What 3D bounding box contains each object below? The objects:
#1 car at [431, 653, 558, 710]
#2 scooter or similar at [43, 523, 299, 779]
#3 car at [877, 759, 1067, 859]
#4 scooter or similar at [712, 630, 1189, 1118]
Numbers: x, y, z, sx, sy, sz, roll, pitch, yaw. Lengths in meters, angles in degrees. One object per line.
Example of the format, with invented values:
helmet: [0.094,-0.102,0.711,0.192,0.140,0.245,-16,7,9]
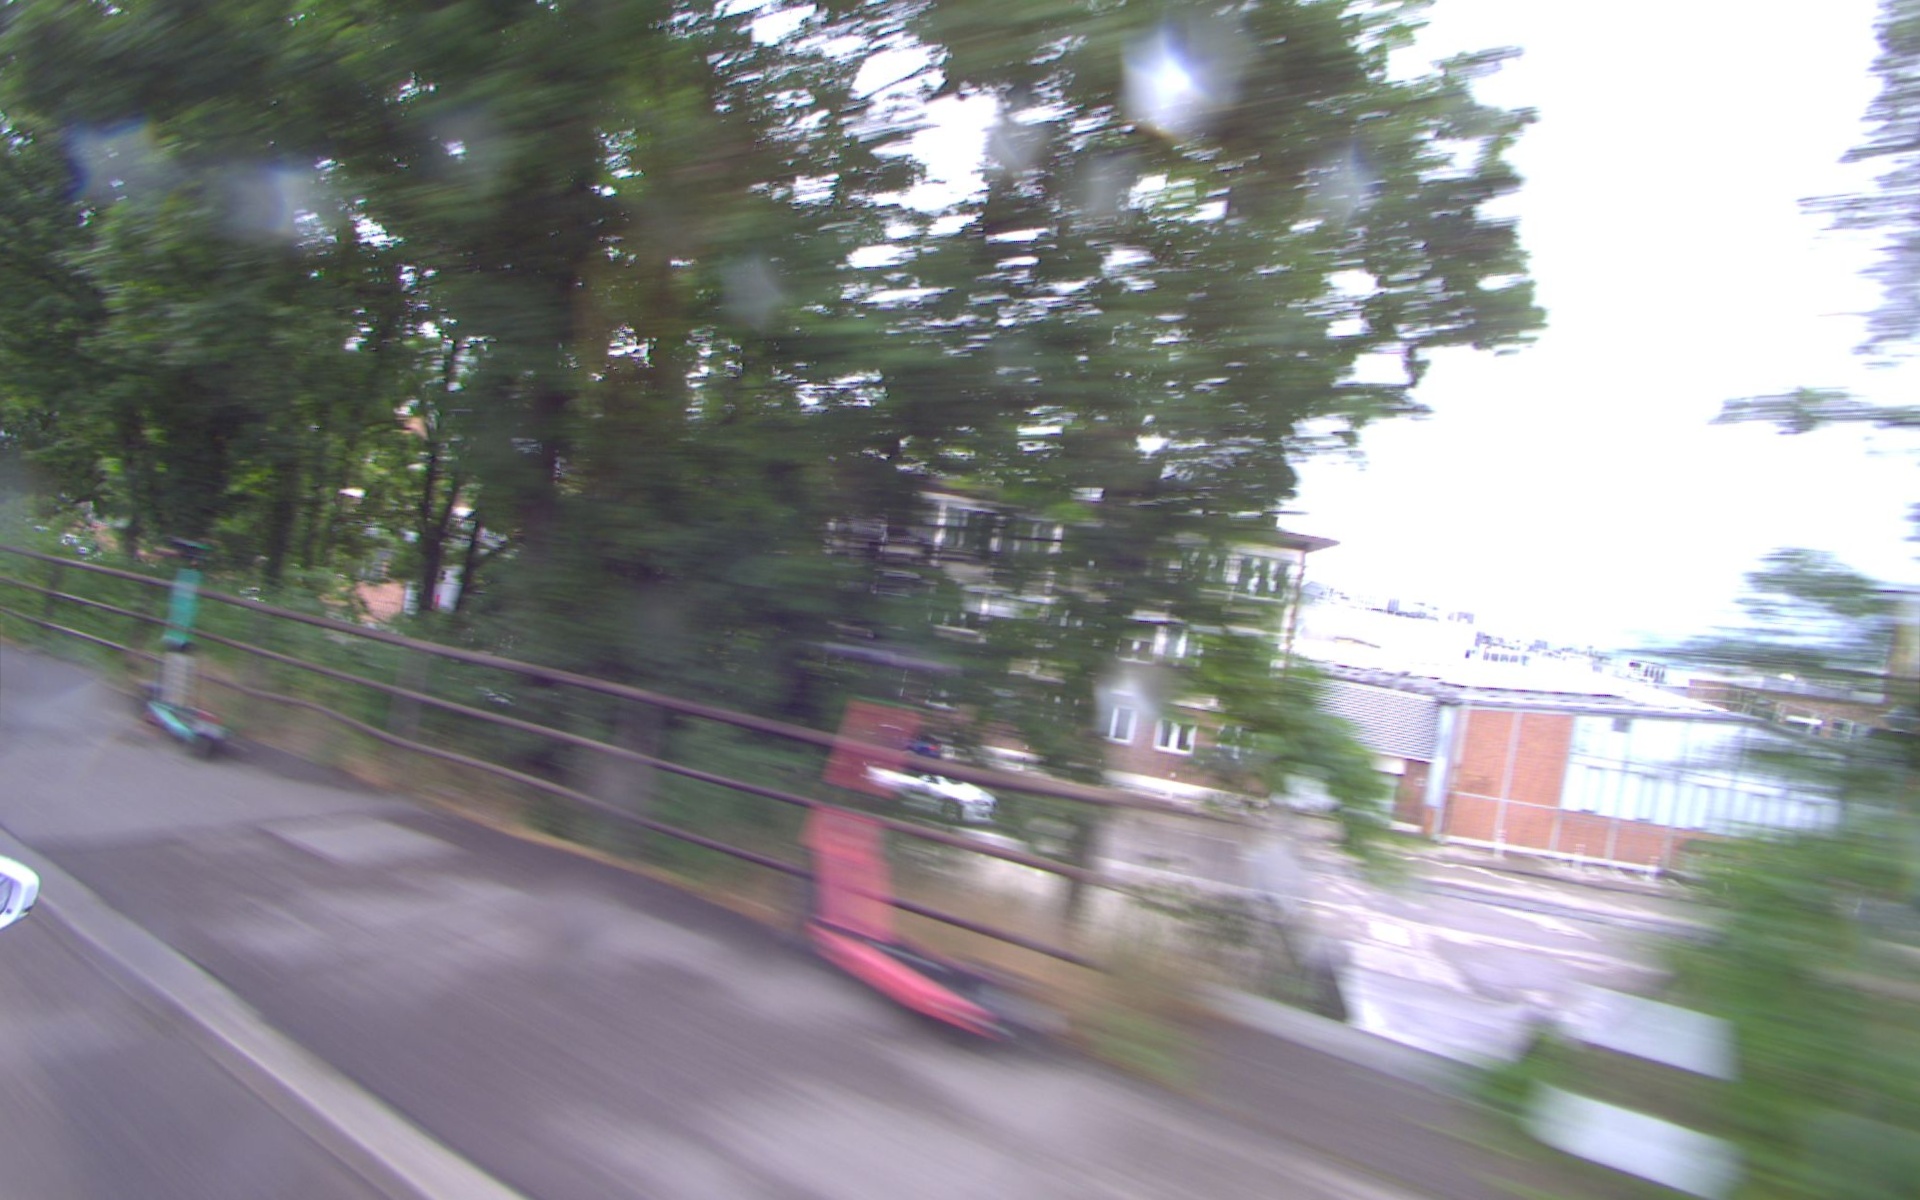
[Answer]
car: [-14.826,2.651,32.220,1.487,1.412,3.416,11,-2,22]
scooter or similar: [-4.837,0.265,6.124,1.814,1.247,0.538,8,0,33]
car: [0.329,5.203,25.385,4.367,1.439,1.750,9,-2,14]
scooter or similar: [-0.069,0.832,3.533,1.444,1.223,0.574,8,0,33]
